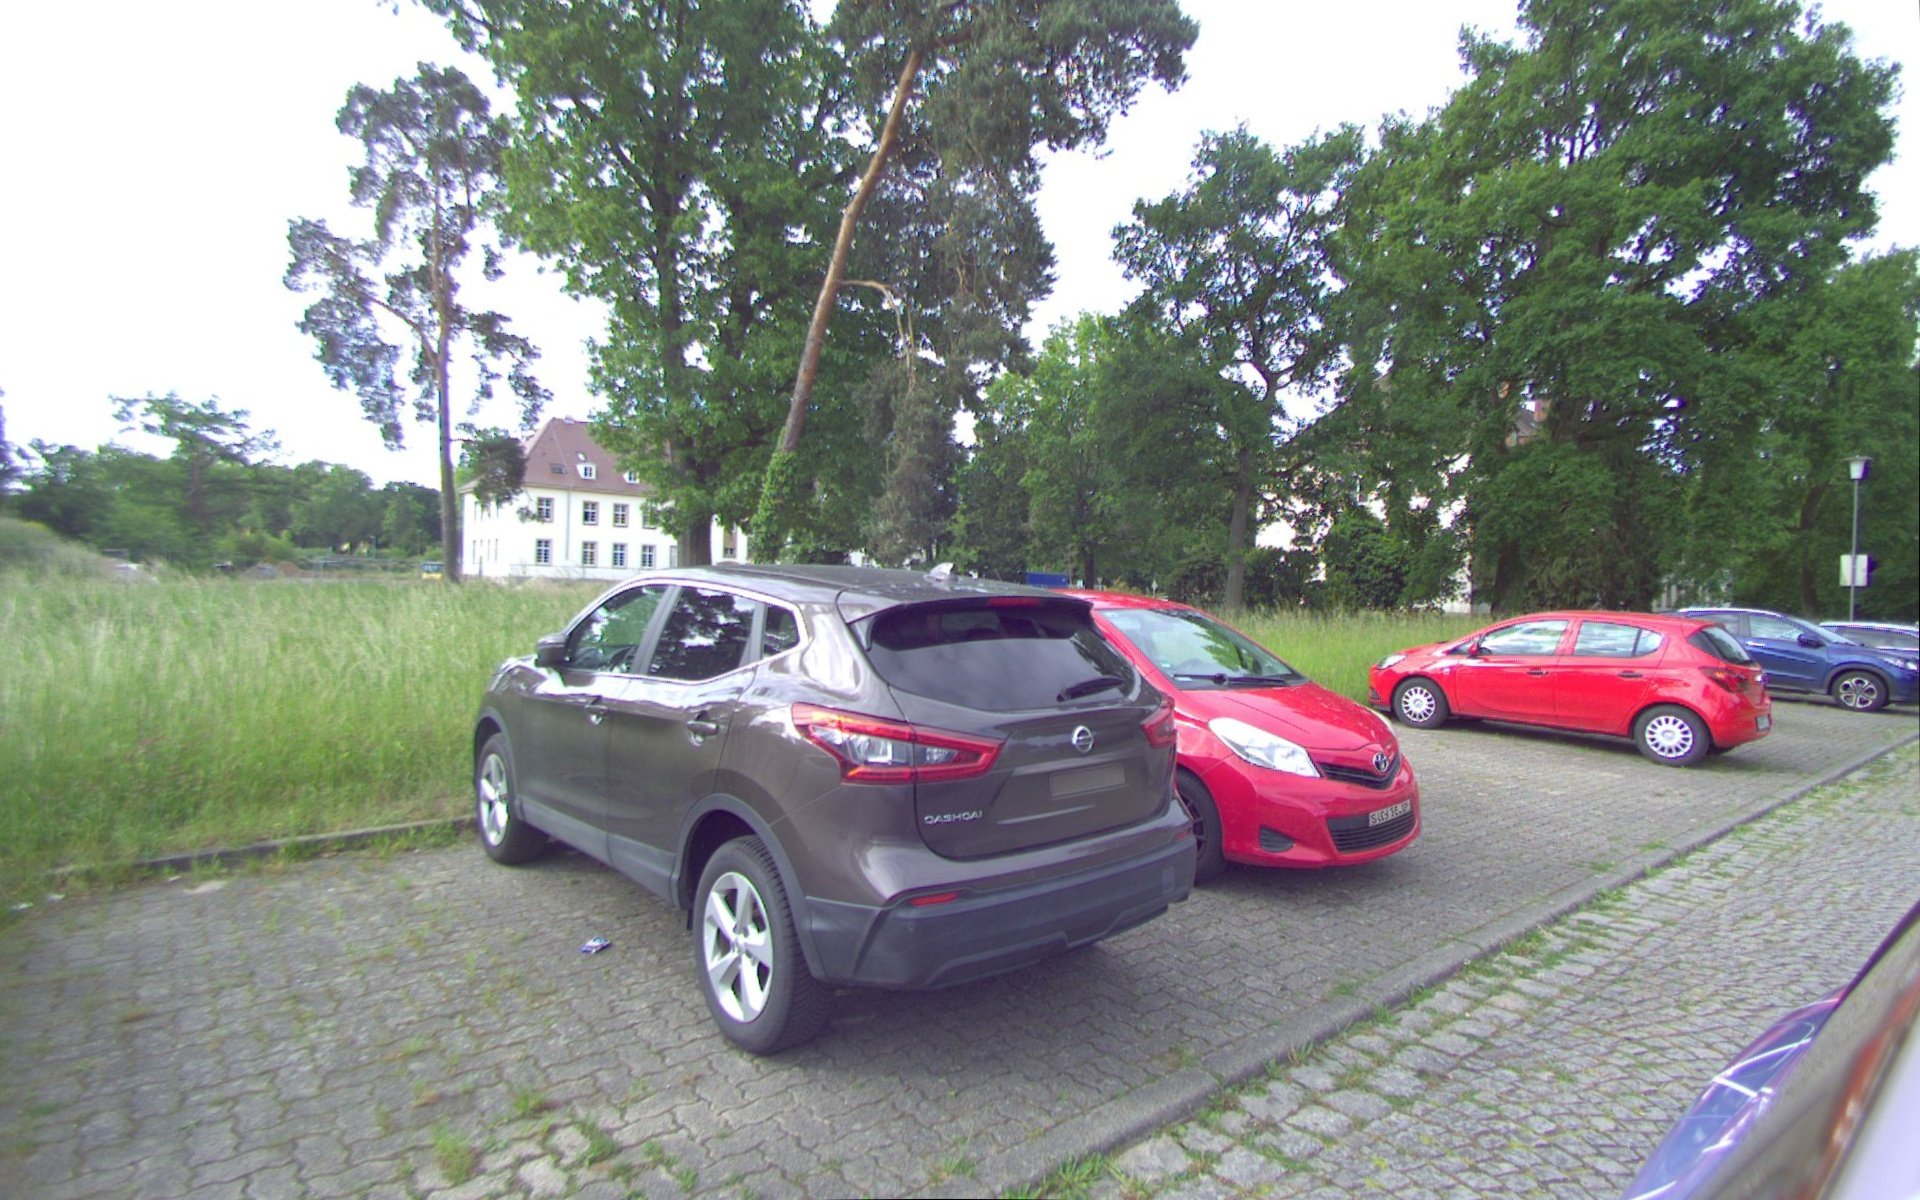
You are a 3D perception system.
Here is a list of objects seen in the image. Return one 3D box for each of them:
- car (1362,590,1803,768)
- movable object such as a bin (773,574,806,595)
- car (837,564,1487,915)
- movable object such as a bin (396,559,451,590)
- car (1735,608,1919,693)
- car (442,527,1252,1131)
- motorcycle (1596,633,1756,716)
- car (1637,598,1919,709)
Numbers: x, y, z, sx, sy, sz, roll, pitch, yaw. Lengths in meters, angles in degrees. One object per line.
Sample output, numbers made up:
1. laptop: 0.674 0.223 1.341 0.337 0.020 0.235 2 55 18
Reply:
1. car: 6.785 0.725 11.375 1.554 1.478 3.893 1 2 -40
2. movable object such as a bin: -17.296 -1.550 102.827 2.931 2.039 1.553 1 1 -39
3. car: 1.014 0.595 6.722 1.734 1.504 4.017 1 2 -39
4. movable object such as a bin: -37.399 -1.747 70.638 1.655 2.039 3.232 2 1 12
5. car: 18.273 1.014 20.437 1.554 1.443 3.876 1 2 -40
6. car: -0.968 0.515 4.915 1.790 1.618 4.269 1 2 -40
7. motorcycle: 10.048 1.012 14.249 1.741 0.969 0.604 4 2 45
8. car: 14.561 0.855 17.753 1.554 1.557 4.149 1 2 -40
